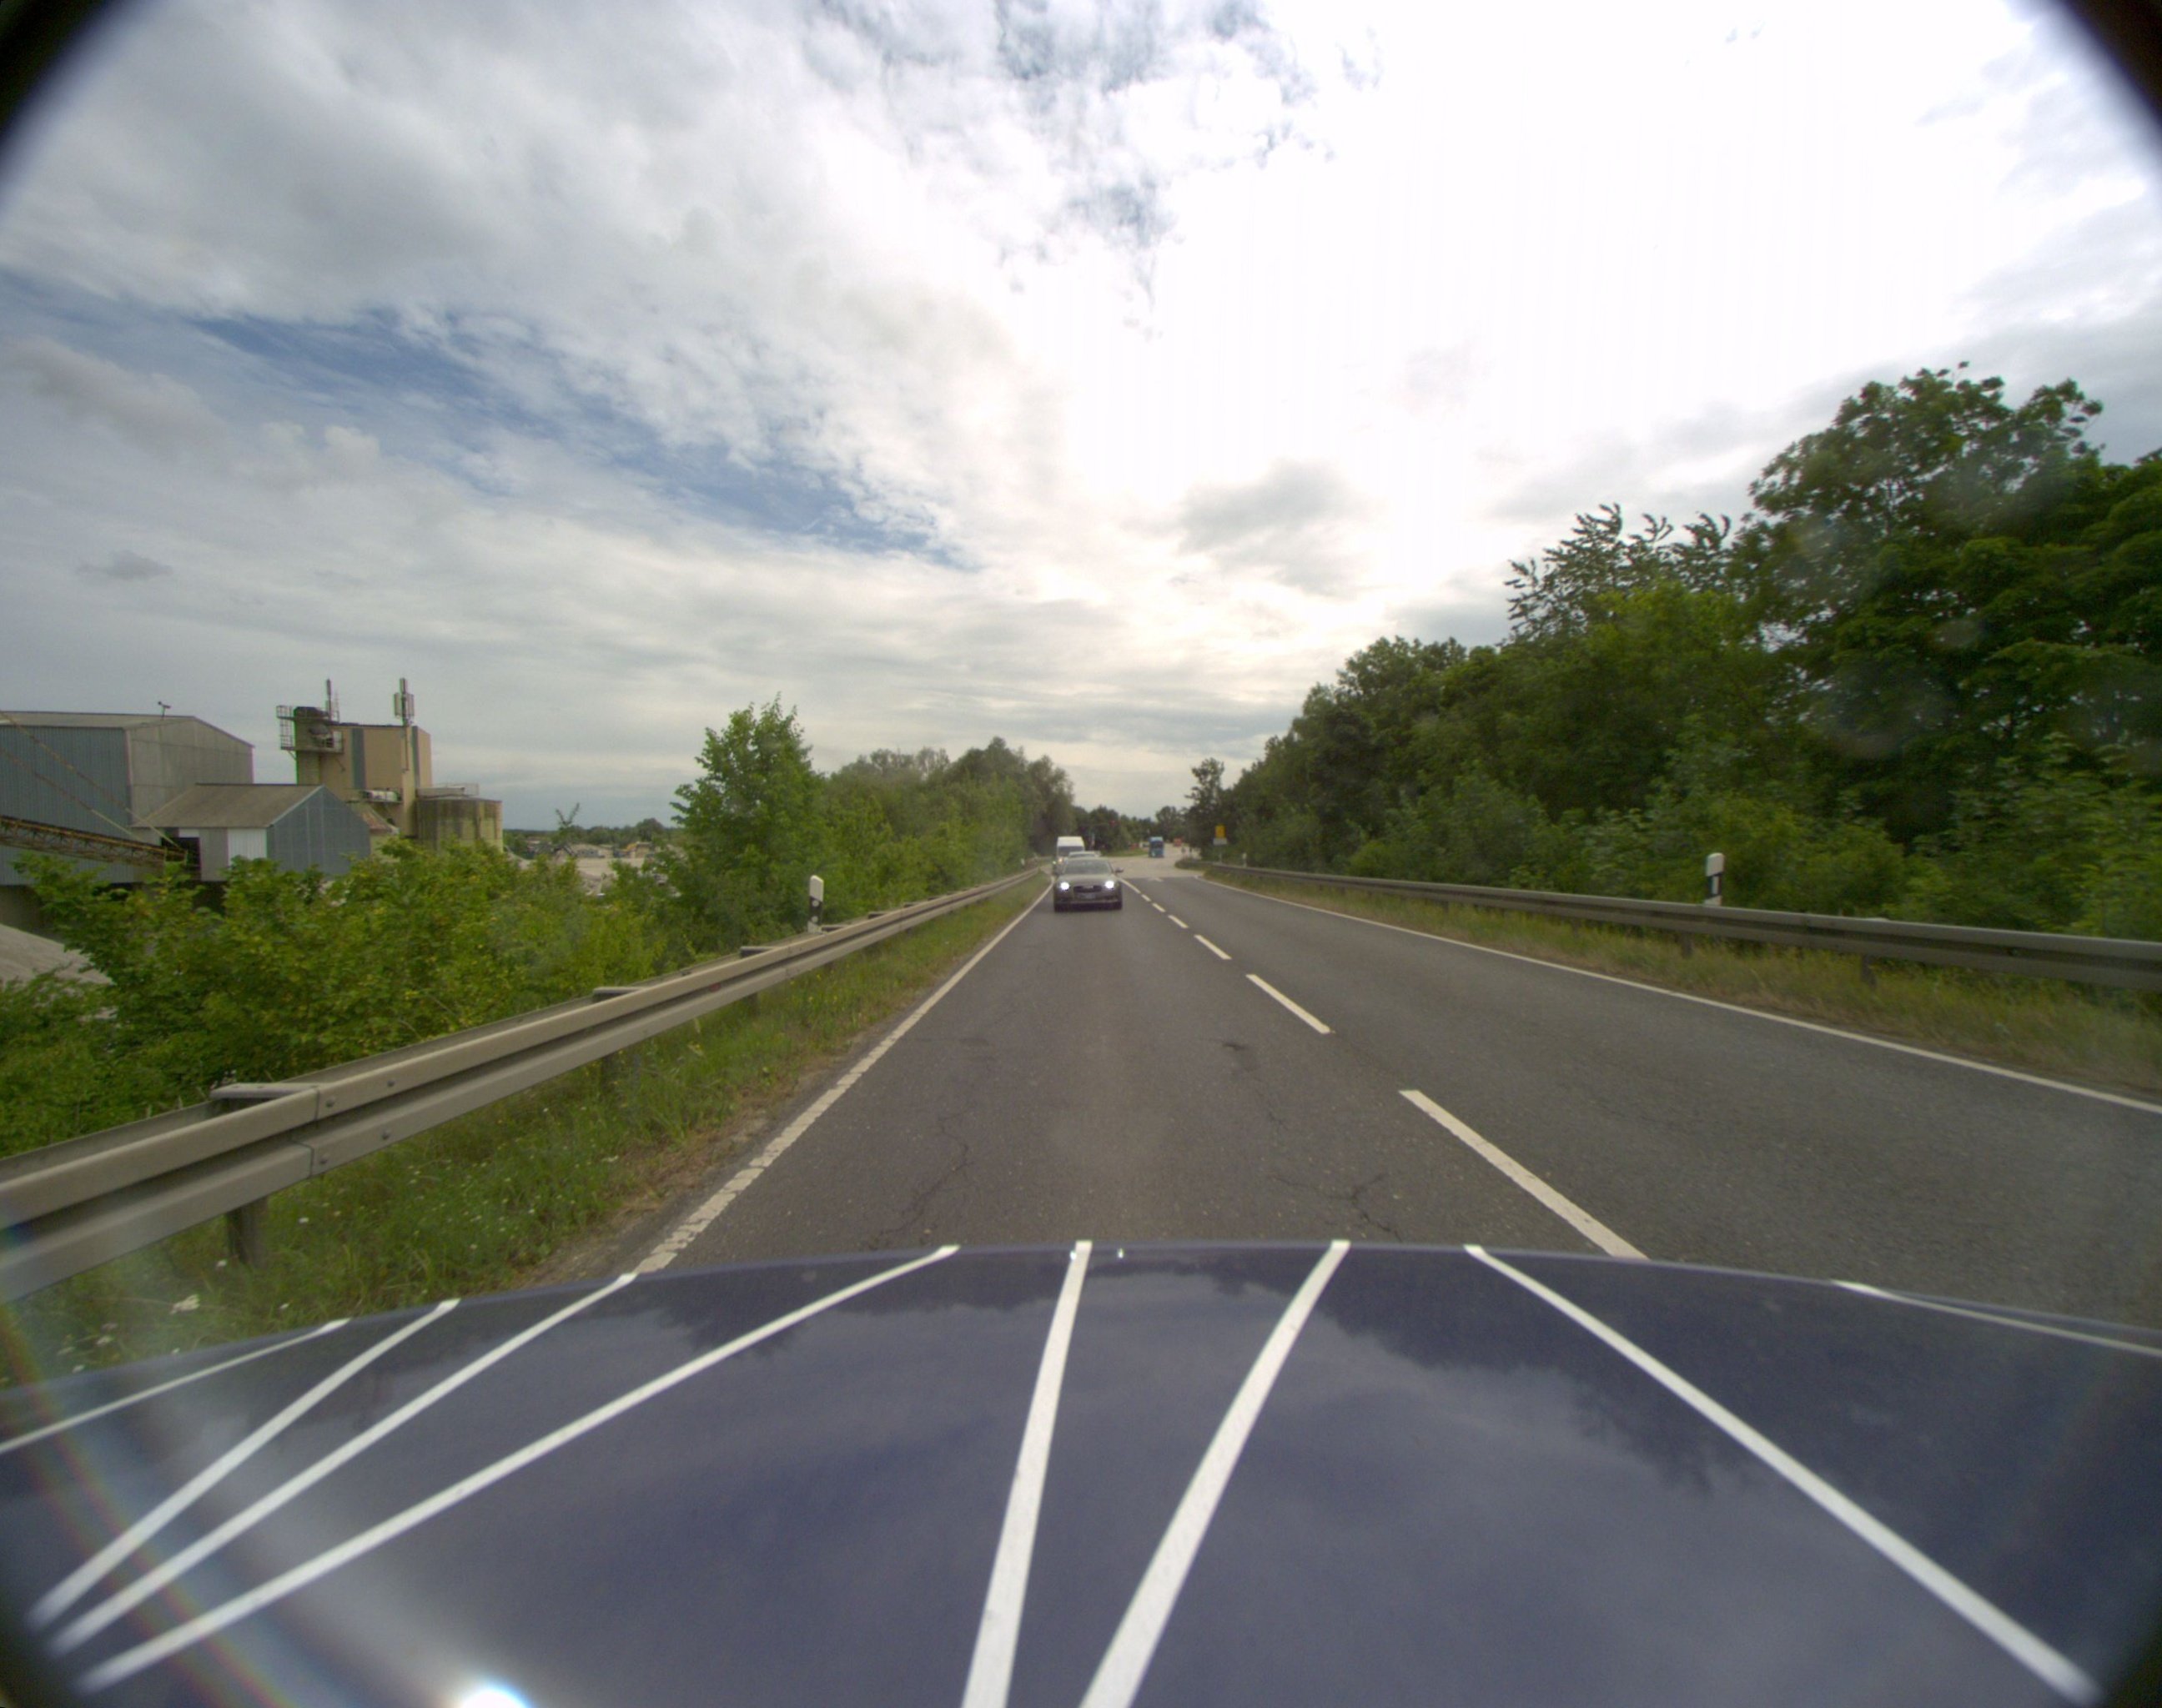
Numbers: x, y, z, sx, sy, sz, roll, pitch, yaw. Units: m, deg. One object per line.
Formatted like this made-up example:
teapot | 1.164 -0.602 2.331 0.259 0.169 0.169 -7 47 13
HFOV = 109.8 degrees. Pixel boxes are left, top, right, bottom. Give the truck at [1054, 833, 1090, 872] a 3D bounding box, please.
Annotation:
truck | -0.681 -0.173 53.397 2.379 2.579 5.996 1 1 -2

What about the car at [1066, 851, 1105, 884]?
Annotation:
car | 0.267 0.644 38.875 1.826 1.489 4.224 2 1 2

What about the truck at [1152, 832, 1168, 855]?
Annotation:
truck | 15.835 -2.182 153.262 3.025 4.325 9.573 1 1 5

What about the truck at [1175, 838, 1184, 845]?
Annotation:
truck | 34.093 -4.321 263.099 2.322 2.586 6.021 1 1 -2

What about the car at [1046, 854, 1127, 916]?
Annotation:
car | 0.276 0.810 22.086 1.964 1.447 4.797 -2 1 5
